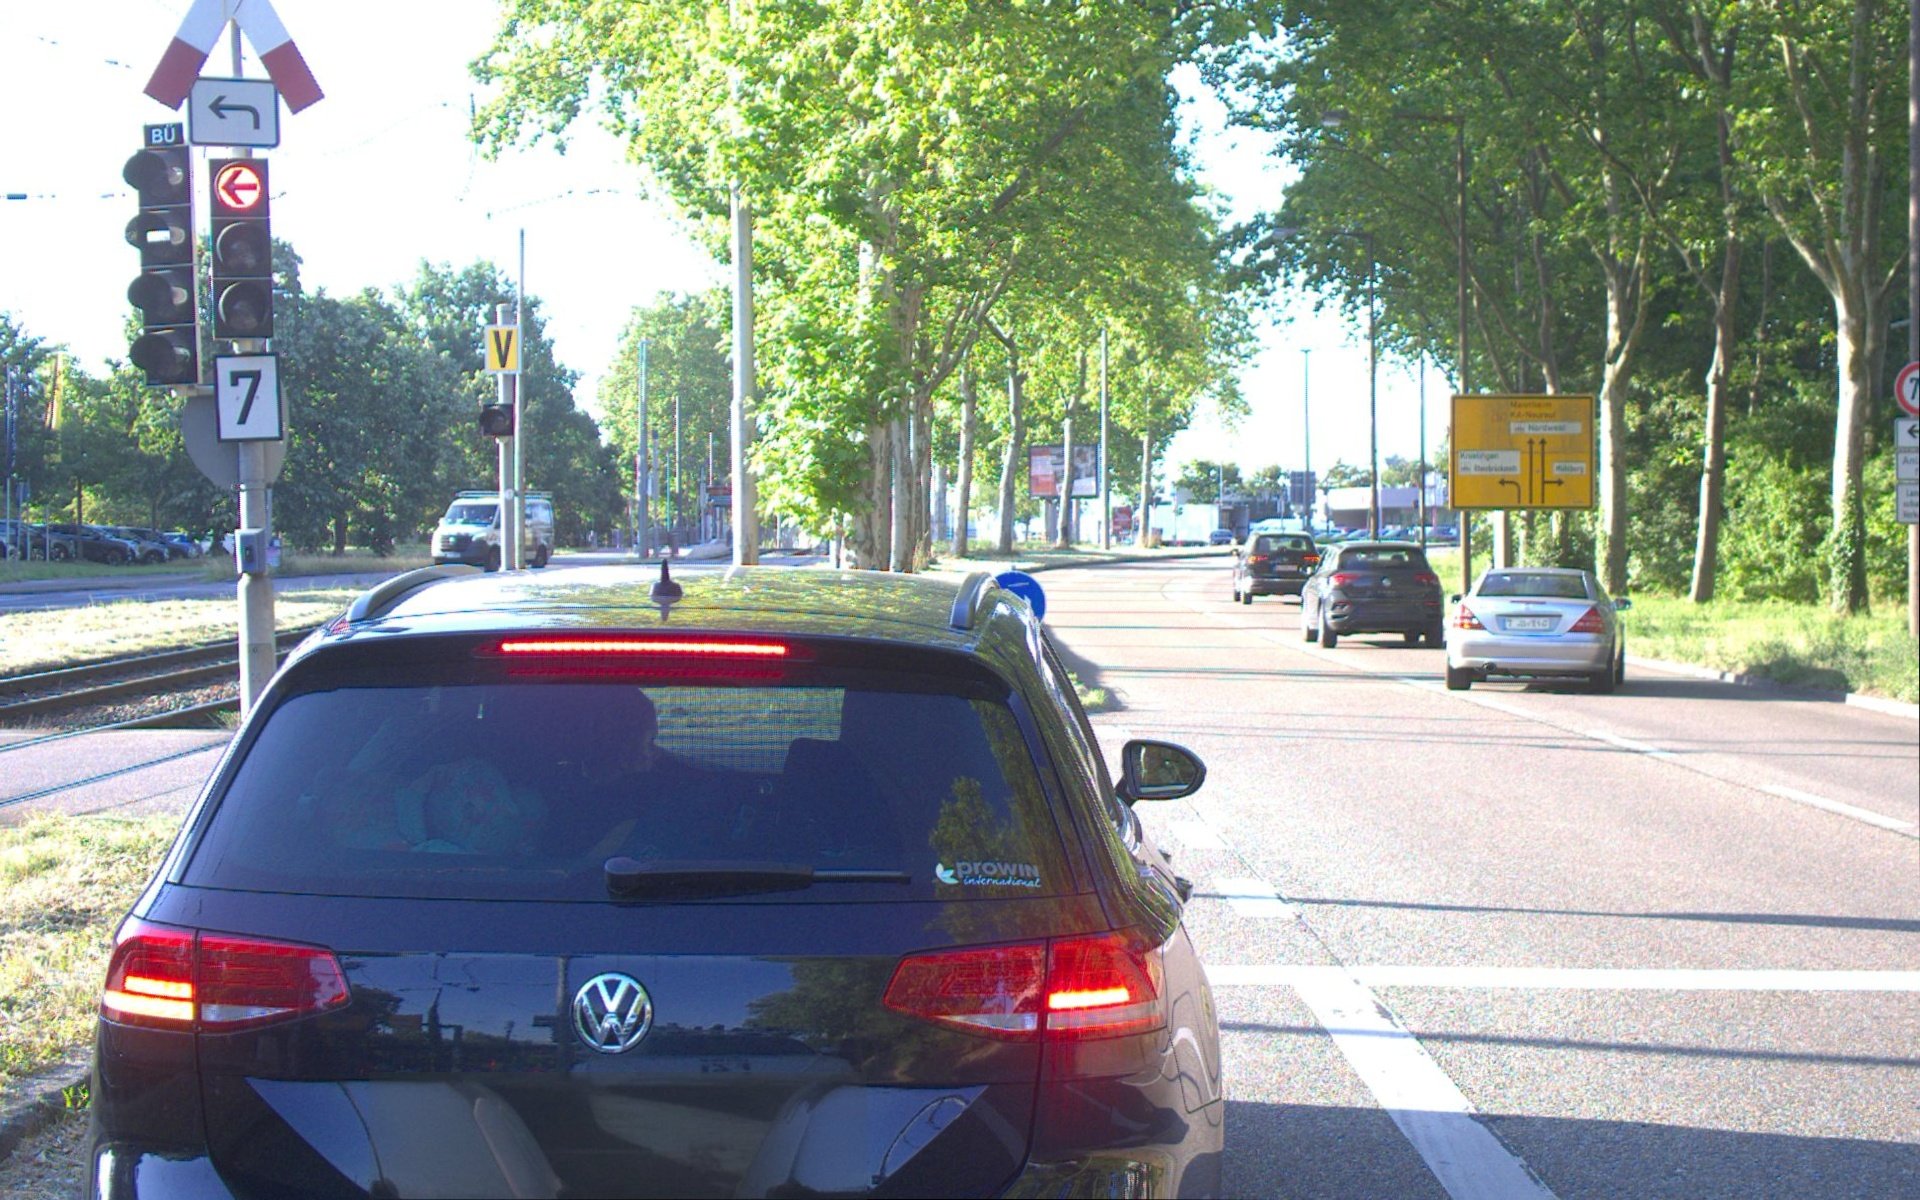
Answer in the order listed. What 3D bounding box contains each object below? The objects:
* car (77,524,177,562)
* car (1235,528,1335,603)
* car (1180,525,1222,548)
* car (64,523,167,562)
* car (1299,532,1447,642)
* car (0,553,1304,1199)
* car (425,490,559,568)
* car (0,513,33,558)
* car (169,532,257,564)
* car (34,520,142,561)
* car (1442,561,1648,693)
[{"bbox_3d":[-36.115,-2.466,149.062,3.986,1.615,1.744,1,1,-5],"label":"car"},{"bbox_3d":[7.237,-0.777,76.866,1.872,1.629,4.370,0,1,1],"label":"car"},{"bbox_3d":[15.269,-4.008,217.953,1.993,1.415,4.001,1,1,-6],"label":"car"},{"bbox_3d":[-35.822,-2.447,145.899,3.986,1.615,1.744,1,1,-5],"label":"car"},{"bbox_3d":[6.070,-0.219,50.883,1.707,1.555,4.166,0,1,0],"label":"car"},{"bbox_3d":[-0.478,0.662,6.403,1.795,1.459,3.583,1,1,-1],"label":"car"},{"bbox_3d":[-15.304,-2.321,112.746,2.097,2.453,5.848,1,1,16],"label":"car"},{"bbox_3d":[-35.914,-2.355,124.994,3.986,1.615,1.744,1,1,-5],"label":"car"},{"bbox_3d":[-36.506,-2.537,167.975,3.986,1.550,1.744,1,1,-4],"label":"car"},{"bbox_3d":[-35.164,-2.406,138.742,3.986,1.615,1.744,1,1,-5],"label":"car"},{"bbox_3d":[6.271,0.245,36.556,1.610,1.290,3.979,1,1,18],"label":"car"}]
